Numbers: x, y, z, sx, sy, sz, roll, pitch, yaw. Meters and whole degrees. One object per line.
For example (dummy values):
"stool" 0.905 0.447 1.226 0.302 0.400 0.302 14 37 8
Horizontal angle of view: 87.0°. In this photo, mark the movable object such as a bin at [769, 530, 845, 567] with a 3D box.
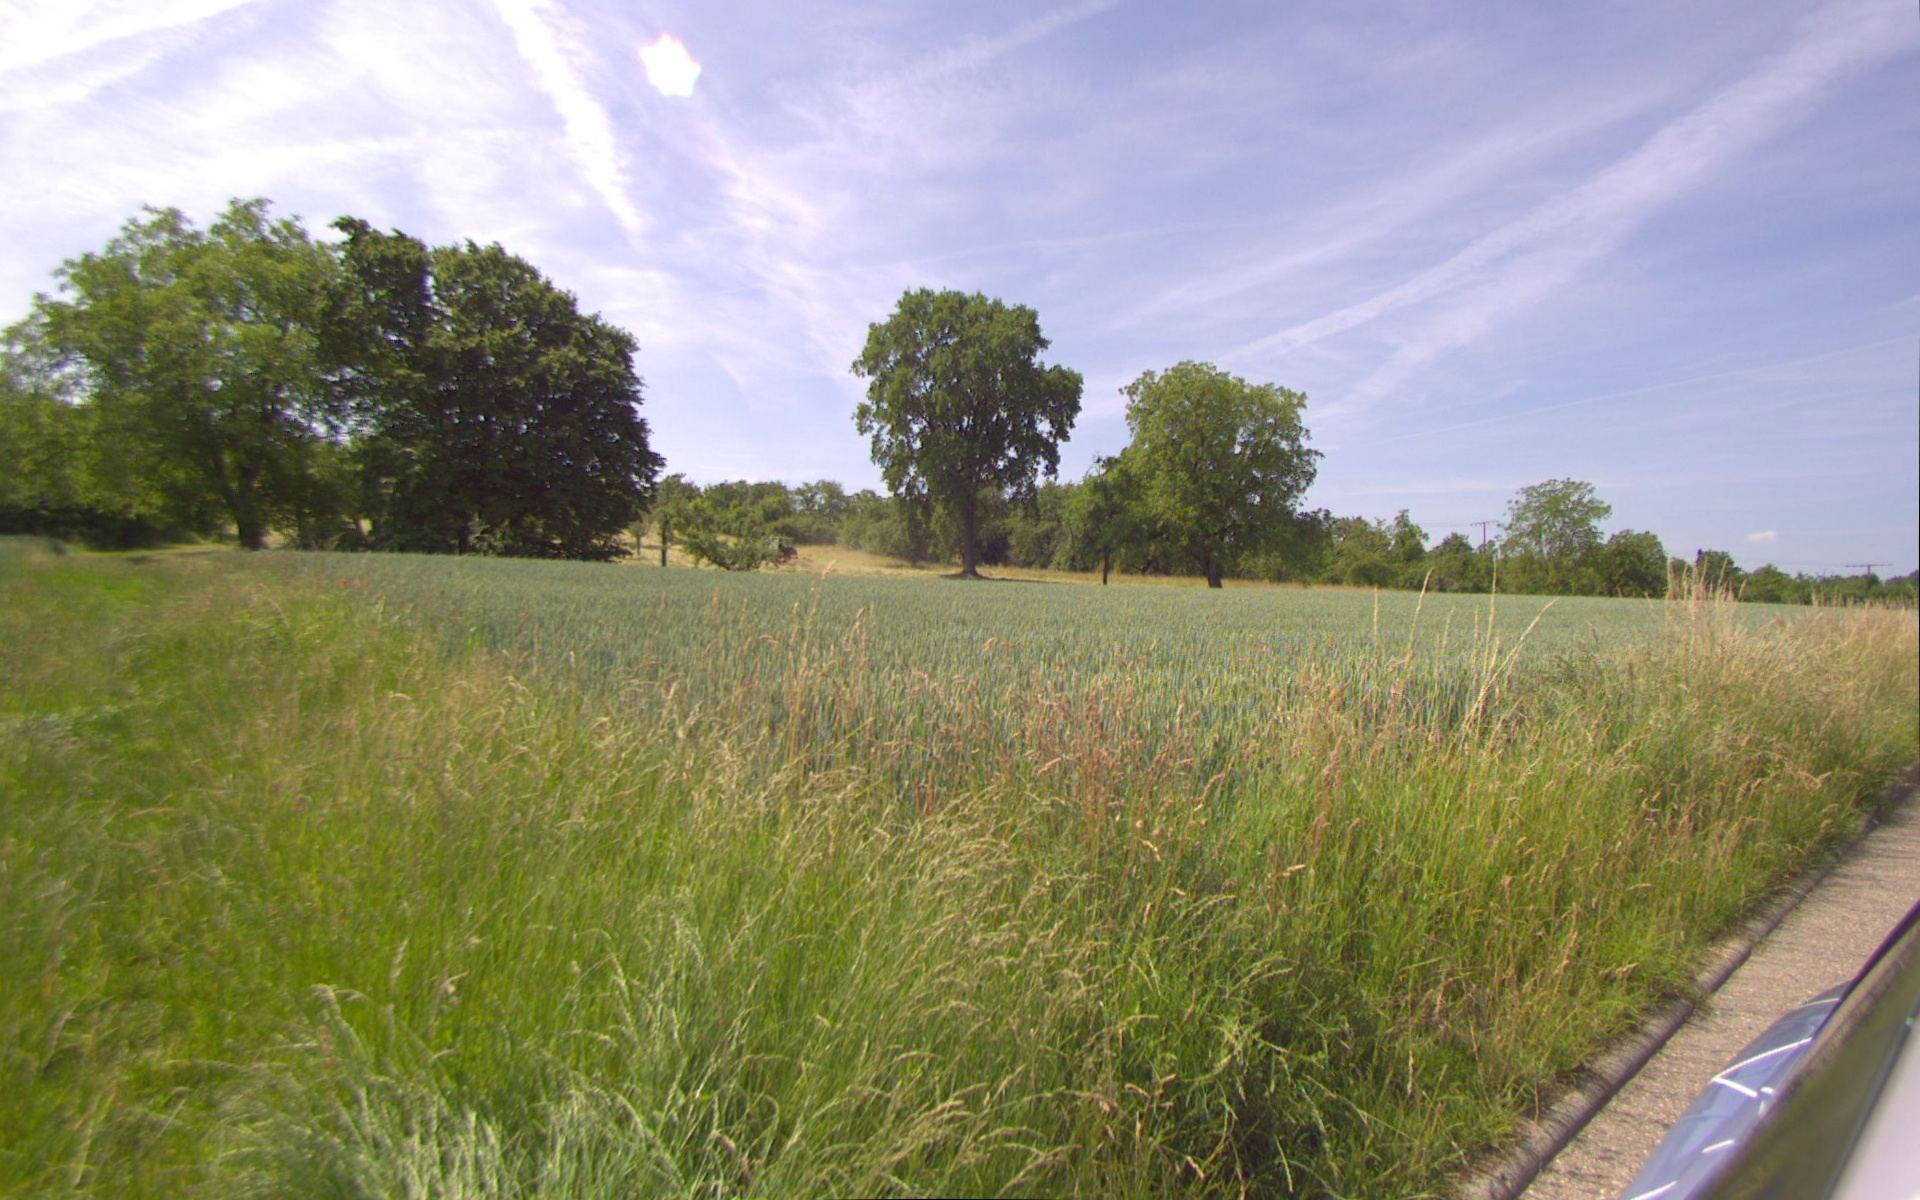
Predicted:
"movable object such as a bin" -11.091 -3.734 72.756 2.401 2.398 6.576 0 4 -38
